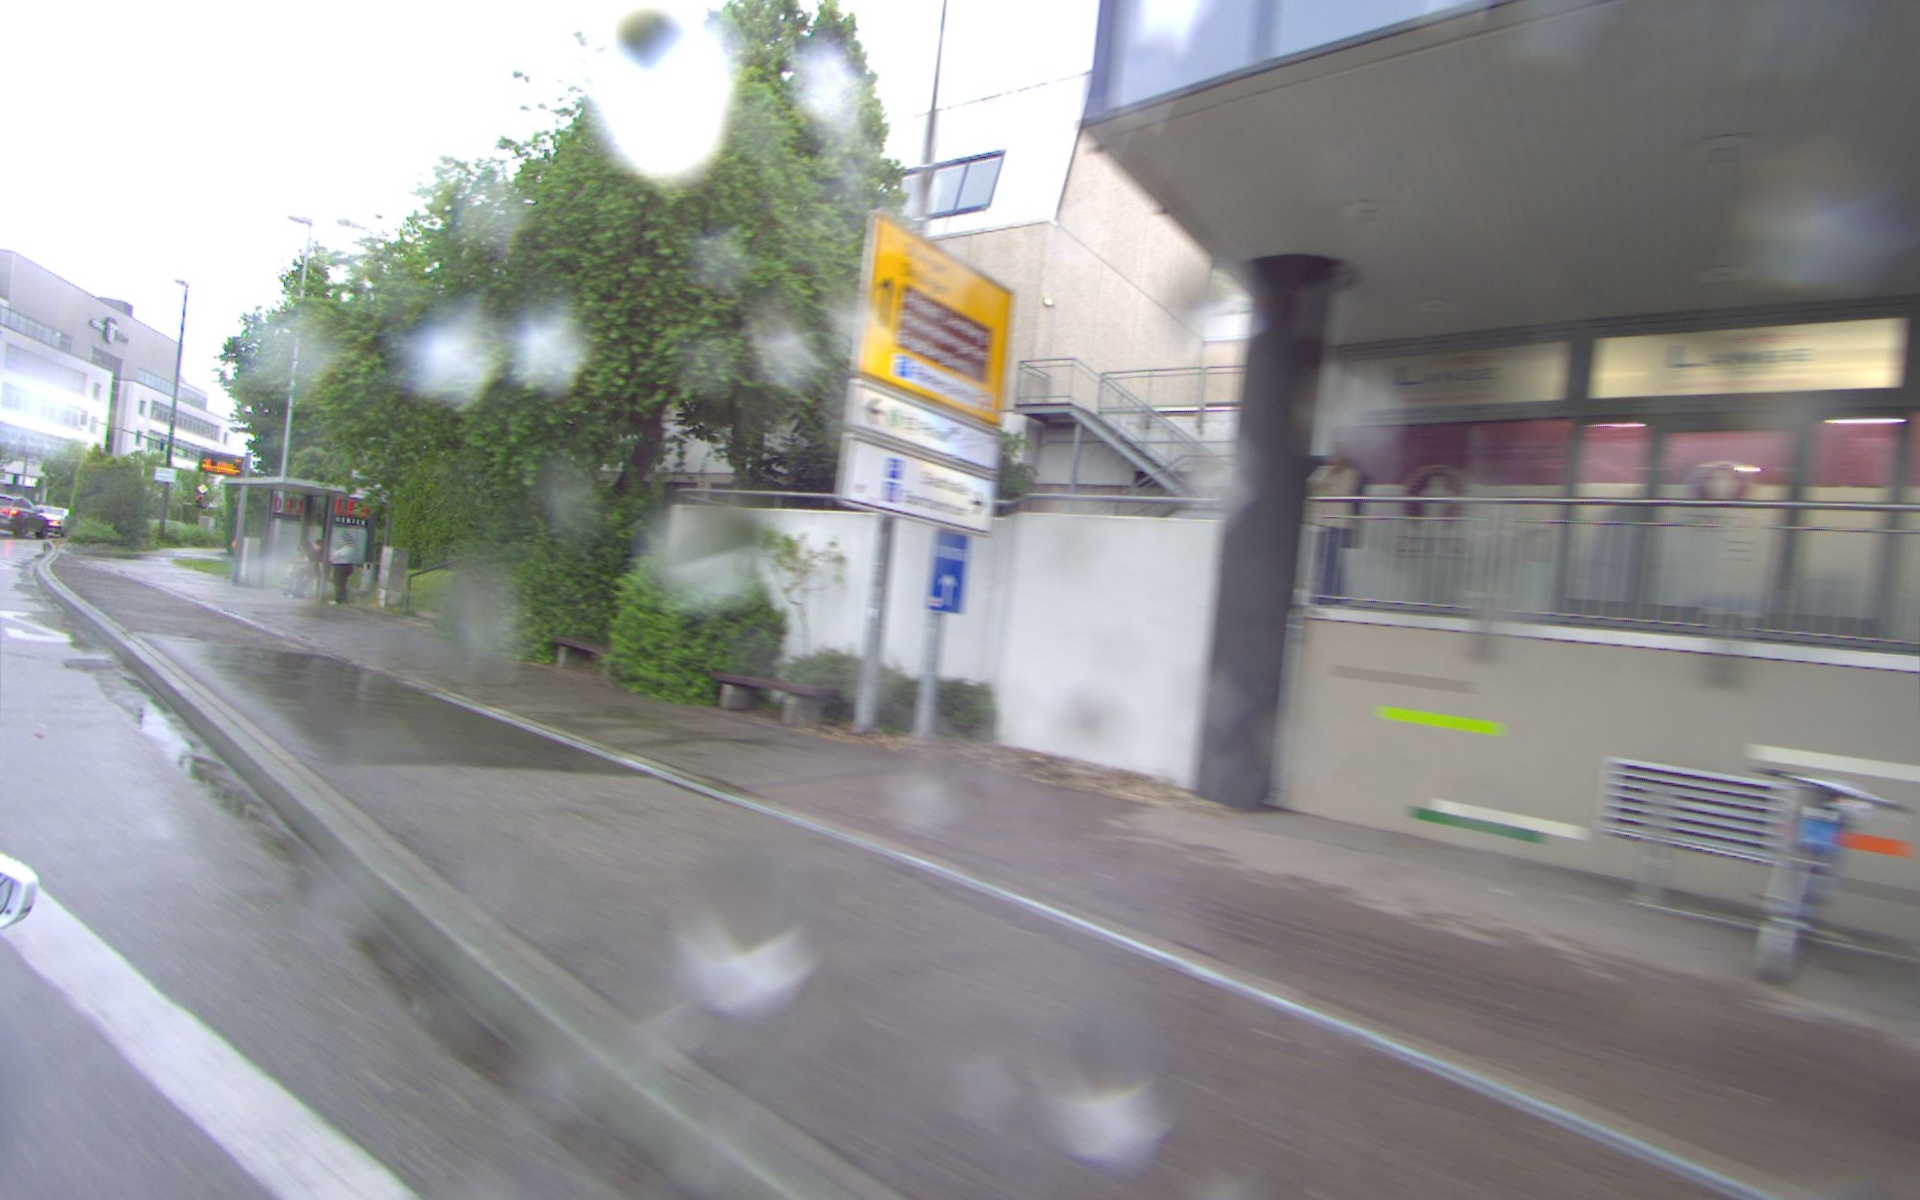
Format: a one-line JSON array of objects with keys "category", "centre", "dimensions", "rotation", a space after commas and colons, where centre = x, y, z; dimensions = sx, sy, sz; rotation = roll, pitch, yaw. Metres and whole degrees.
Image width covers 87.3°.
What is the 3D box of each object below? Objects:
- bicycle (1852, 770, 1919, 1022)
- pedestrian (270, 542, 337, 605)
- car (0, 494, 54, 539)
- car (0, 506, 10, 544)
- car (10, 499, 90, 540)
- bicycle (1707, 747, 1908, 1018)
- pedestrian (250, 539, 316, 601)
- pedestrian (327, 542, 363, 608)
[{"category": "bicycle", "centre": [5.522, 1.613, 5.541], "dimensions": [0.674, 1.099, 1.799], "rotation": [6, 1, 37]}, {"category": "pedestrian", "centre": [-14.655, -0.592, 22.479], "dimensions": [0.682, 1.298, 1.028], "rotation": [7, 2, 38]}, {"category": "car", "centre": [-39.019, -3.473, 41.165], "dimensions": [1.887, 1.640, 4.303], "rotation": [8, -1, -30]}, {"category": "car", "centre": [-35.361, -2.796, 35.603], "dimensions": [1.621, 1.402, 4.476], "rotation": [8, -2, -33]}, {"category": "car", "centre": [-42.463, -3.715, 47.035], "dimensions": [1.620, 1.465, 4.241], "rotation": [8, -2, -28]}, {"category": "bicycle", "centre": [4.870, 1.530, 5.882], "dimensions": [0.684, 1.124, 1.808], "rotation": [7, 1, 37]}, {"category": "pedestrian", "centre": [-15.335, -0.670, 22.791], "dimensions": [0.682, 1.298, 1.028], "rotation": [7, 2, 38]}, {"category": "pedestrian", "centre": [-13.499, -0.549, 22.089], "dimensions": [0.404, 1.383, 0.542], "rotation": [5, 2, -9]}]
